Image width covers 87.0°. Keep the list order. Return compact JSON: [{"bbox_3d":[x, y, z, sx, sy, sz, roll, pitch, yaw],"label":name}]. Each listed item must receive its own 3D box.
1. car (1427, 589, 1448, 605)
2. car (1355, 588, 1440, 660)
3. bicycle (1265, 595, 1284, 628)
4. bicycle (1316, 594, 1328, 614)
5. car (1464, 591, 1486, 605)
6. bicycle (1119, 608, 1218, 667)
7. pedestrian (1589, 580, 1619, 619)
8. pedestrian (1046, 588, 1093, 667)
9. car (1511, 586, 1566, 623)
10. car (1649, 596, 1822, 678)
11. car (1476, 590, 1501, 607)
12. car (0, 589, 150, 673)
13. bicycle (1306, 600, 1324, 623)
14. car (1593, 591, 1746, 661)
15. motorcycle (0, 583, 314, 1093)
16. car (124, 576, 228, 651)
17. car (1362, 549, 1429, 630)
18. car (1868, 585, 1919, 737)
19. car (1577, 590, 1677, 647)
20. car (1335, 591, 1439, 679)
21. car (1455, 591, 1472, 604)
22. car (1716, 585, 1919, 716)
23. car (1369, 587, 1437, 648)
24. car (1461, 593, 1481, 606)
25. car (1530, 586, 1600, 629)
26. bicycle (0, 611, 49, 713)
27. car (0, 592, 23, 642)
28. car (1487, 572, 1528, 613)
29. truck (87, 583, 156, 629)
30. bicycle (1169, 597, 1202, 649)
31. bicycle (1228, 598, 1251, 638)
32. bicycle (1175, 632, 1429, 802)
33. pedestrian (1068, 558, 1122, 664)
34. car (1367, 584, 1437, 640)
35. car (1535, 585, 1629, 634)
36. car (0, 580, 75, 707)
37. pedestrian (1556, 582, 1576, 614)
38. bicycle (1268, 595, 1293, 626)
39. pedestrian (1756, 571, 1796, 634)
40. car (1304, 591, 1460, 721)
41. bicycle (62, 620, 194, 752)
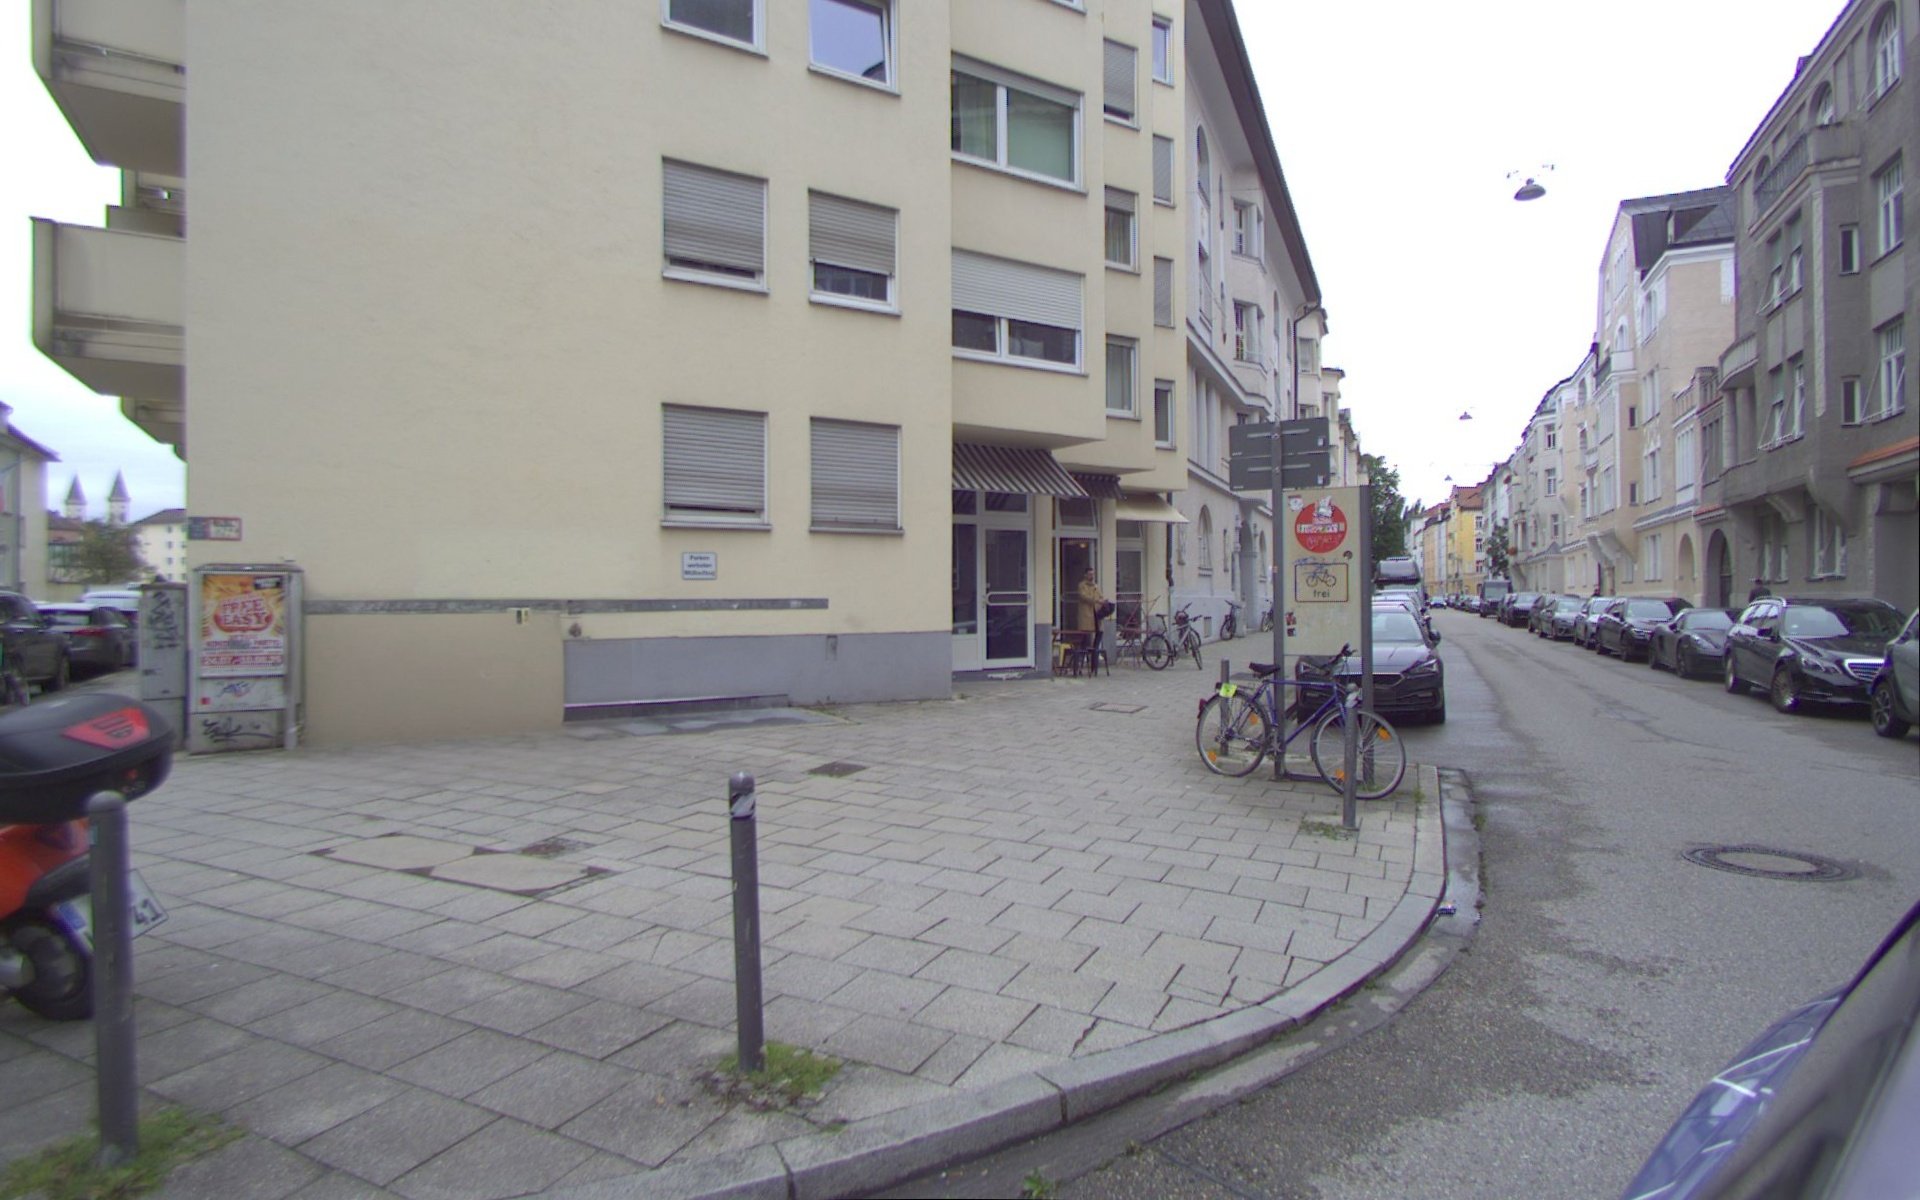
[{"bbox_3d":[56.576,-0.361,119.950,1.977,1.821,3.970,-1,0,23],"label":"car"},{"bbox_3d":[10.222,0.511,23.864,1.619,1.556,3.829,-1,0,21],"label":"car"},{"bbox_3d":[11.859,0.413,38.123,0.477,1.165,1.775,2,1,22],"label":"bicycle"},{"bbox_3d":[20.757,0.239,57.993,0.489,1.131,1.951,-1,0,24],"label":"bicycle"},{"bbox_3d":[51.641,-0.217,101.527,1.665,1.416,3.676,-1,0,23],"label":"car"},{"bbox_3d":[3.971,0.702,19.241,1.763,1.045,0.754,1,0,-30],"label":"bicycle"},{"bbox_3d":[29.368,-0.024,46.146,0.985,1.750,0.931,-1,0,25],"label":"pedestrian"},{"bbox_3d":[2.026,0.497,18.761,0.660,1.416,0.533,-1,0,-32],"label":"pedestrian"},{"bbox_3d":[27.472,0.193,48.161,1.938,1.680,4.575,-1,0,26],"label":"car"},{"bbox_3d":[14.395,0.617,19.046,1.743,1.348,4.060,0,0,25],"label":"car"},{"bbox_3d":[45.294,-0.169,86.783,1.666,1.416,3.674,-1,0,25],"label":"car"},{"bbox_3d":[-17.533,0.561,20.068,1.699,1.478,4.419,1,-1,-31],"label":"car"},{"bbox_3d":[18.147,0.561,51.740,0.636,1.131,1.951,-1,0,25],"label":"bicycle"},{"bbox_3d":[16.625,0.530,23.990,1.977,1.466,4.742,0,0,23],"label":"car"},{"bbox_3d":[-3.310,0.633,3.190,2.046,1.373,0.817,0,0,2],"label":"motorcycle"},{"bbox_3d":[-22.782,0.357,29.576,1.839,1.992,4.819,-1,0,-31],"label":"car"},{"bbox_3d":[17.882,-0.462,41.493,2.237,2.997,6.083,-2,0,24],"label":"car"},{"bbox_3d":[10.372,0.627,9.706,1.692,1.534,2.885,1,1,26],"label":"car"},{"bbox_3d":[18.975,0.467,28.955,1.793,1.449,4.399,1,1,26],"label":"car"},{"bbox_3d":[8.098,0.583,19.283,1.620,1.490,3.826,-1,0,23],"label":"car"},{"bbox_3d":[63.269,-0.329,127.224,1.665,1.658,3.676,-1,0,23],"label":"car"},{"bbox_3d":[12.171,0.577,14.061,1.743,1.534,4.666,0,0,25],"label":"car"},{"bbox_3d":[12.453,0.456,28.636,1.620,1.612,3.939,-1,0,22],"label":"car"},{"bbox_3d":[55.503,-0.045,110.053,1.665,1.416,3.676,-1,0,23],"label":"car"},{"bbox_3d":[23.560,0.273,39.548,1.788,1.592,3.784,-1,0,23],"label":"car"},{"bbox_3d":[-11.537,0.723,12.017,0.569,1.169,1.966,-1,0,-27],"label":"bicycle"},{"bbox_3d":[-34.321,0.594,35.245,1.791,1.732,4.001,0,0,-33],"label":"car"},{"bbox_3d":[37.331,-0.541,69.103,2.084,2.654,5.628,1,1,25],"label":"car"},{"bbox_3d":[-45.639,0.320,55.182,1.960,2.348,5.414,-1,0,-30],"label":"truck"},{"bbox_3d":[5.498,0.539,24.644,0.558,1.207,1.666,2,1,20],"label":"bicycle"},{"bbox_3d":[8.494,0.540,30.731,0.477,1.165,1.775,-1,0,22],"label":"bicycle"},{"bbox_3d":[2.583,0.828,7.832,0.653,1.099,1.796,2,-1,-38],"label":"bicycle"},{"bbox_3d":[2.507,0.199,18.865,0.727,1.871,1.017,3,-1,-3],"label":"pedestrian"},{"bbox_3d":[14.796,0.374,33.779,1.979,1.710,4.633,-2,-1,25],"label":"car"},{"bbox_3d":[20.826,0.269,34.071,1.820,1.532,4.576,0,0,21],"label":"car"},{"bbox_3d":[-14.423,0.602,14.515,1.819,1.659,4.553,-1,0,-31],"label":"car"},{"bbox_3d":[33.890,-0.111,56.630,0.829,1.812,0.734,-1,0,25],"label":"pedestrian"},{"bbox_3d":[12.784,0.412,40.317,0.479,1.165,1.767,-1,0,33],"label":"bicycle"},{"bbox_3d":[24.044,0.075,29.824,0.711,1.840,0.724,-1,0,24],"label":"pedestrian"},{"bbox_3d":[5.840,0.640,14.097,1.678,1.490,4.576,-1,0,23],"label":"car"},{"bbox_3d":[-7.665,0.739,9.400,0.569,1.067,1.765,-1,0,-27],"label":"bicycle"}]
